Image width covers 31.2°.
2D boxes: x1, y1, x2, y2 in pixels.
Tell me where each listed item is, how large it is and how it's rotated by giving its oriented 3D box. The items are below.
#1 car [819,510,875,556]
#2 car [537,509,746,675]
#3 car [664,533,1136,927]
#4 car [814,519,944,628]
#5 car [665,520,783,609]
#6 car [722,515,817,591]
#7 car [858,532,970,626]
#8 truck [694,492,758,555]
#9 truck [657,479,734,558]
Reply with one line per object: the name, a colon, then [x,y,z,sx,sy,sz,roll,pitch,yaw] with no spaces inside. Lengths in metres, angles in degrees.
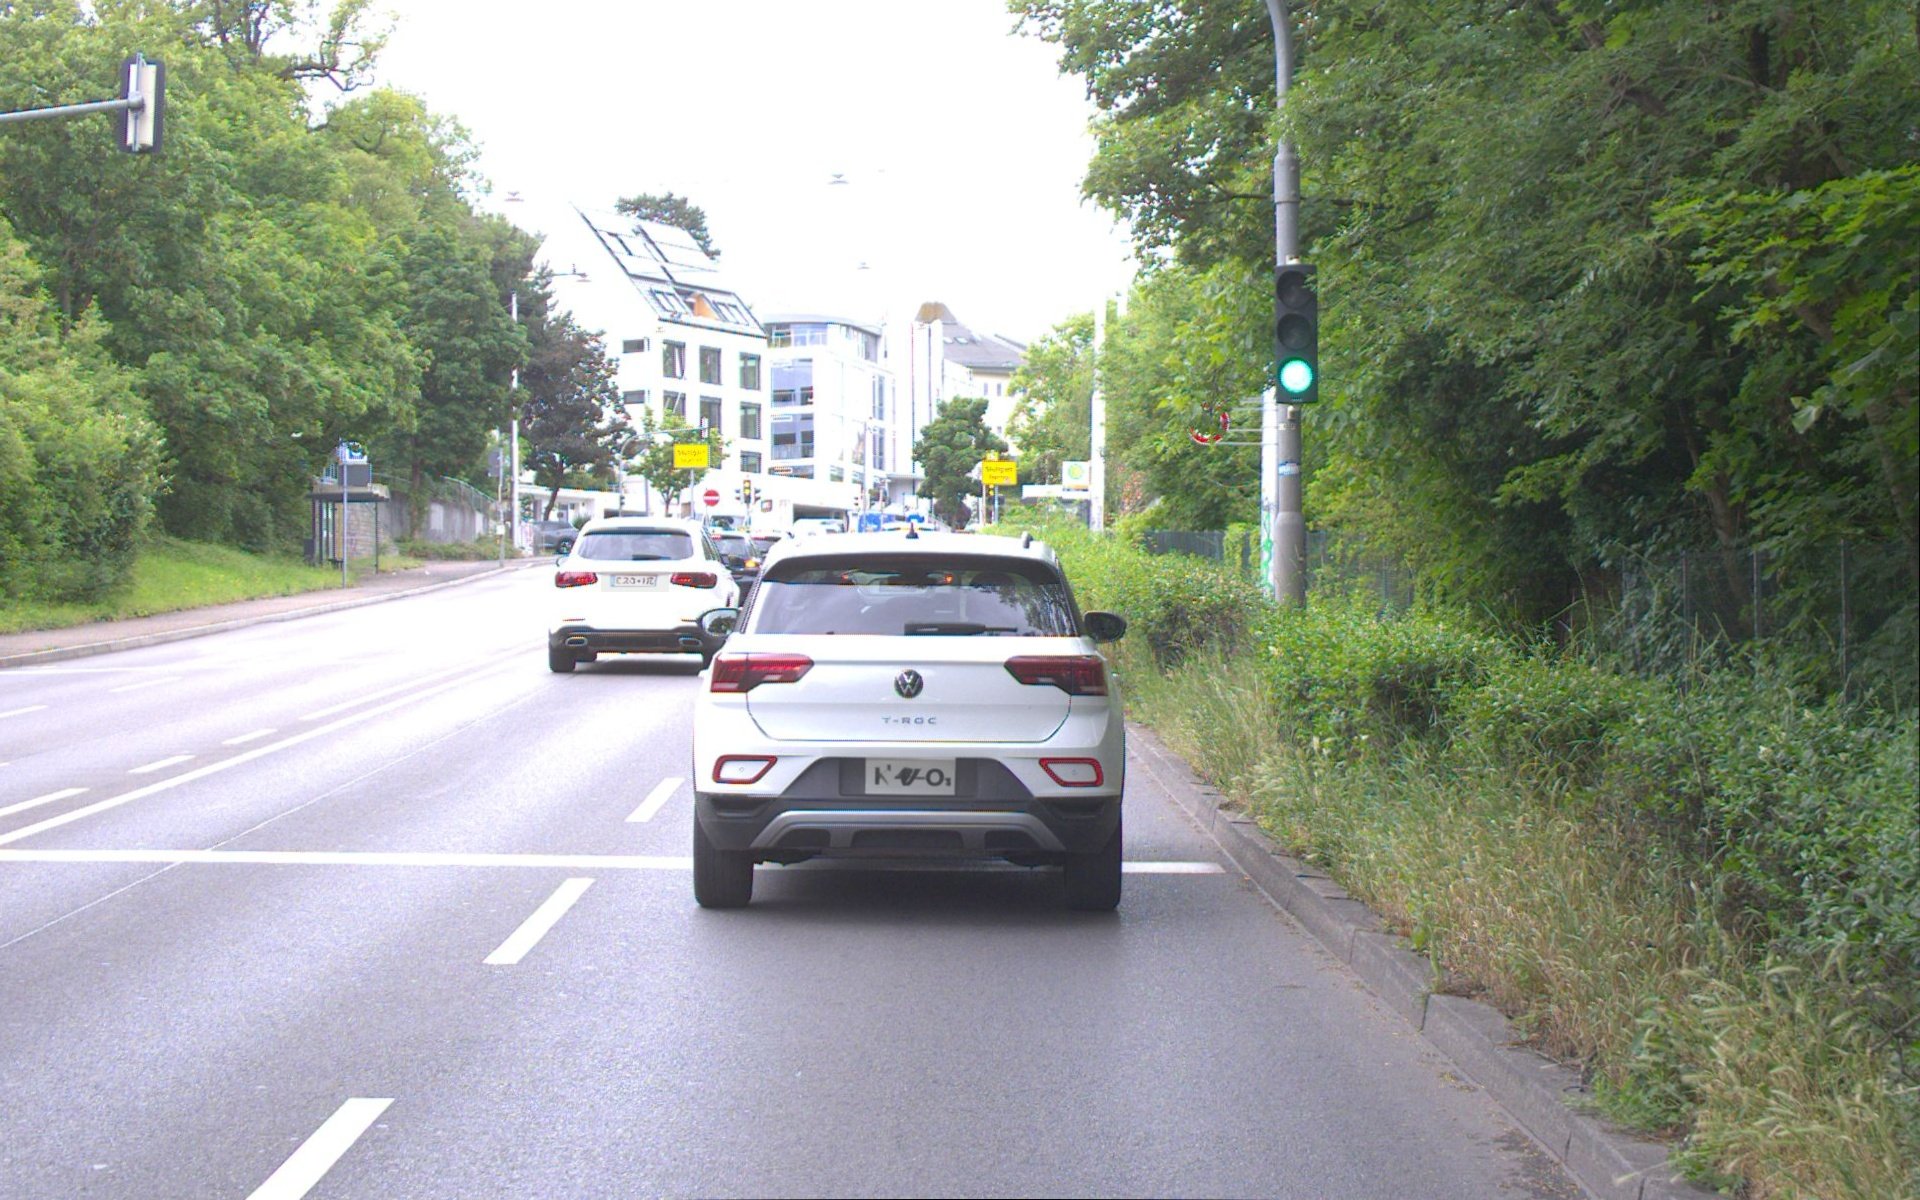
car: [-3.836,-2.273,117.017,1.829,1.520,4.000,-1,1,-1]
car: [-3.370,-0.126,37.074,1.918,1.664,4.000,-1,1,-1]
car: [-0.267,0.468,15.375,1.829,1.520,4.000,0,1,-1]
car: [-1.183,-0.424,50.905,1.829,1.520,4.000,-1,1,-1]
car: [-4.111,-0.641,60.419,1.829,1.492,4.000,-1,1,-1]
car: [-3.987,-1.008,72.593,1.829,1.520,4.000,-1,1,-1]
car: [-0.792,-0.385,58.684,1.829,1.520,4.000,-1,1,-1]
truck: [-11.696,-3.790,172.200,2.293,3.040,6.979,-1,1,3]
truck: [-9.369,-2.893,122.096,2.362,2.697,4.478,-2,1,-1]
